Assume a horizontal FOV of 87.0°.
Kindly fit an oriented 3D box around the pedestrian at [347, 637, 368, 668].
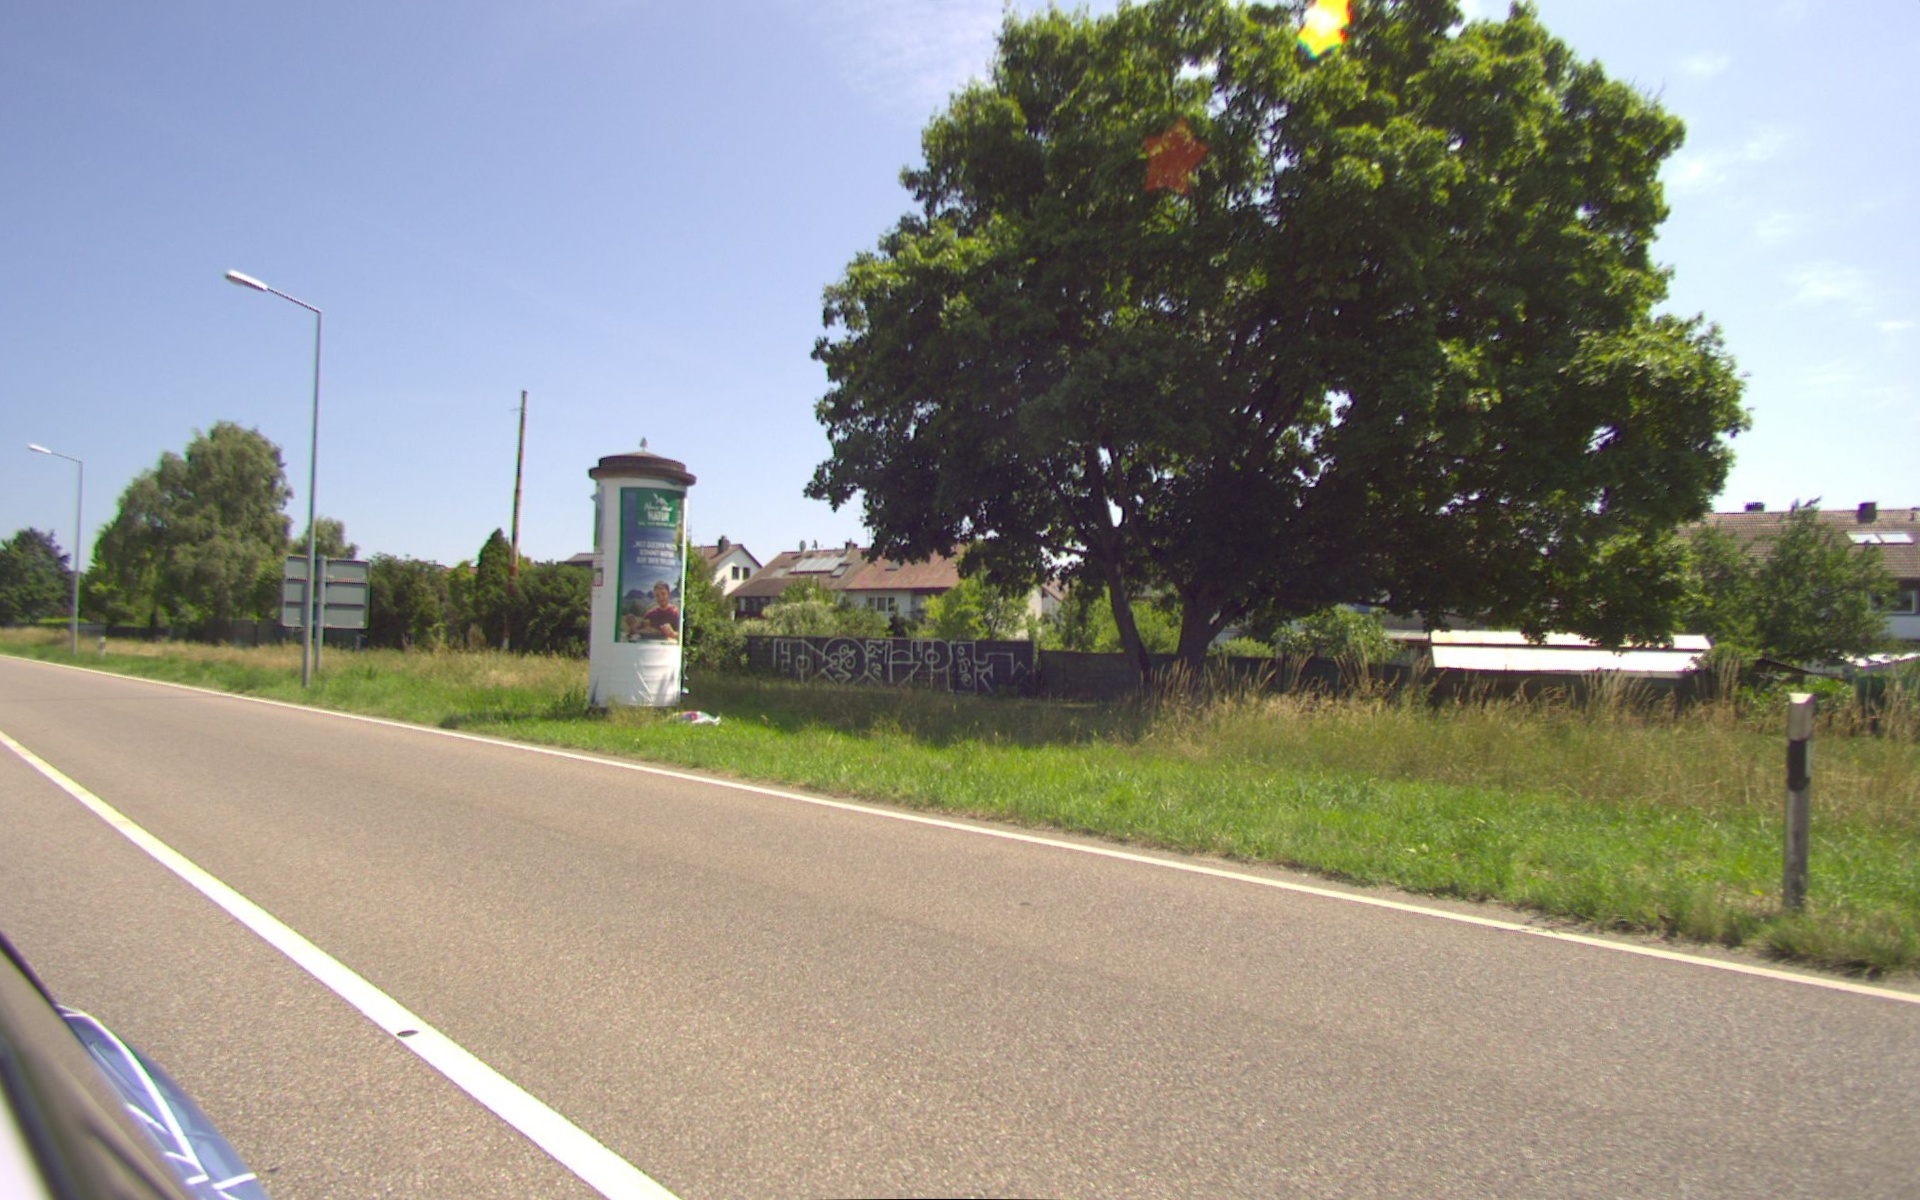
[{"bbox_3d":[-26.969,2.342,45.327,0.798,1.365,0.574,-2,-3,43],"label":"pedestrian"}]
